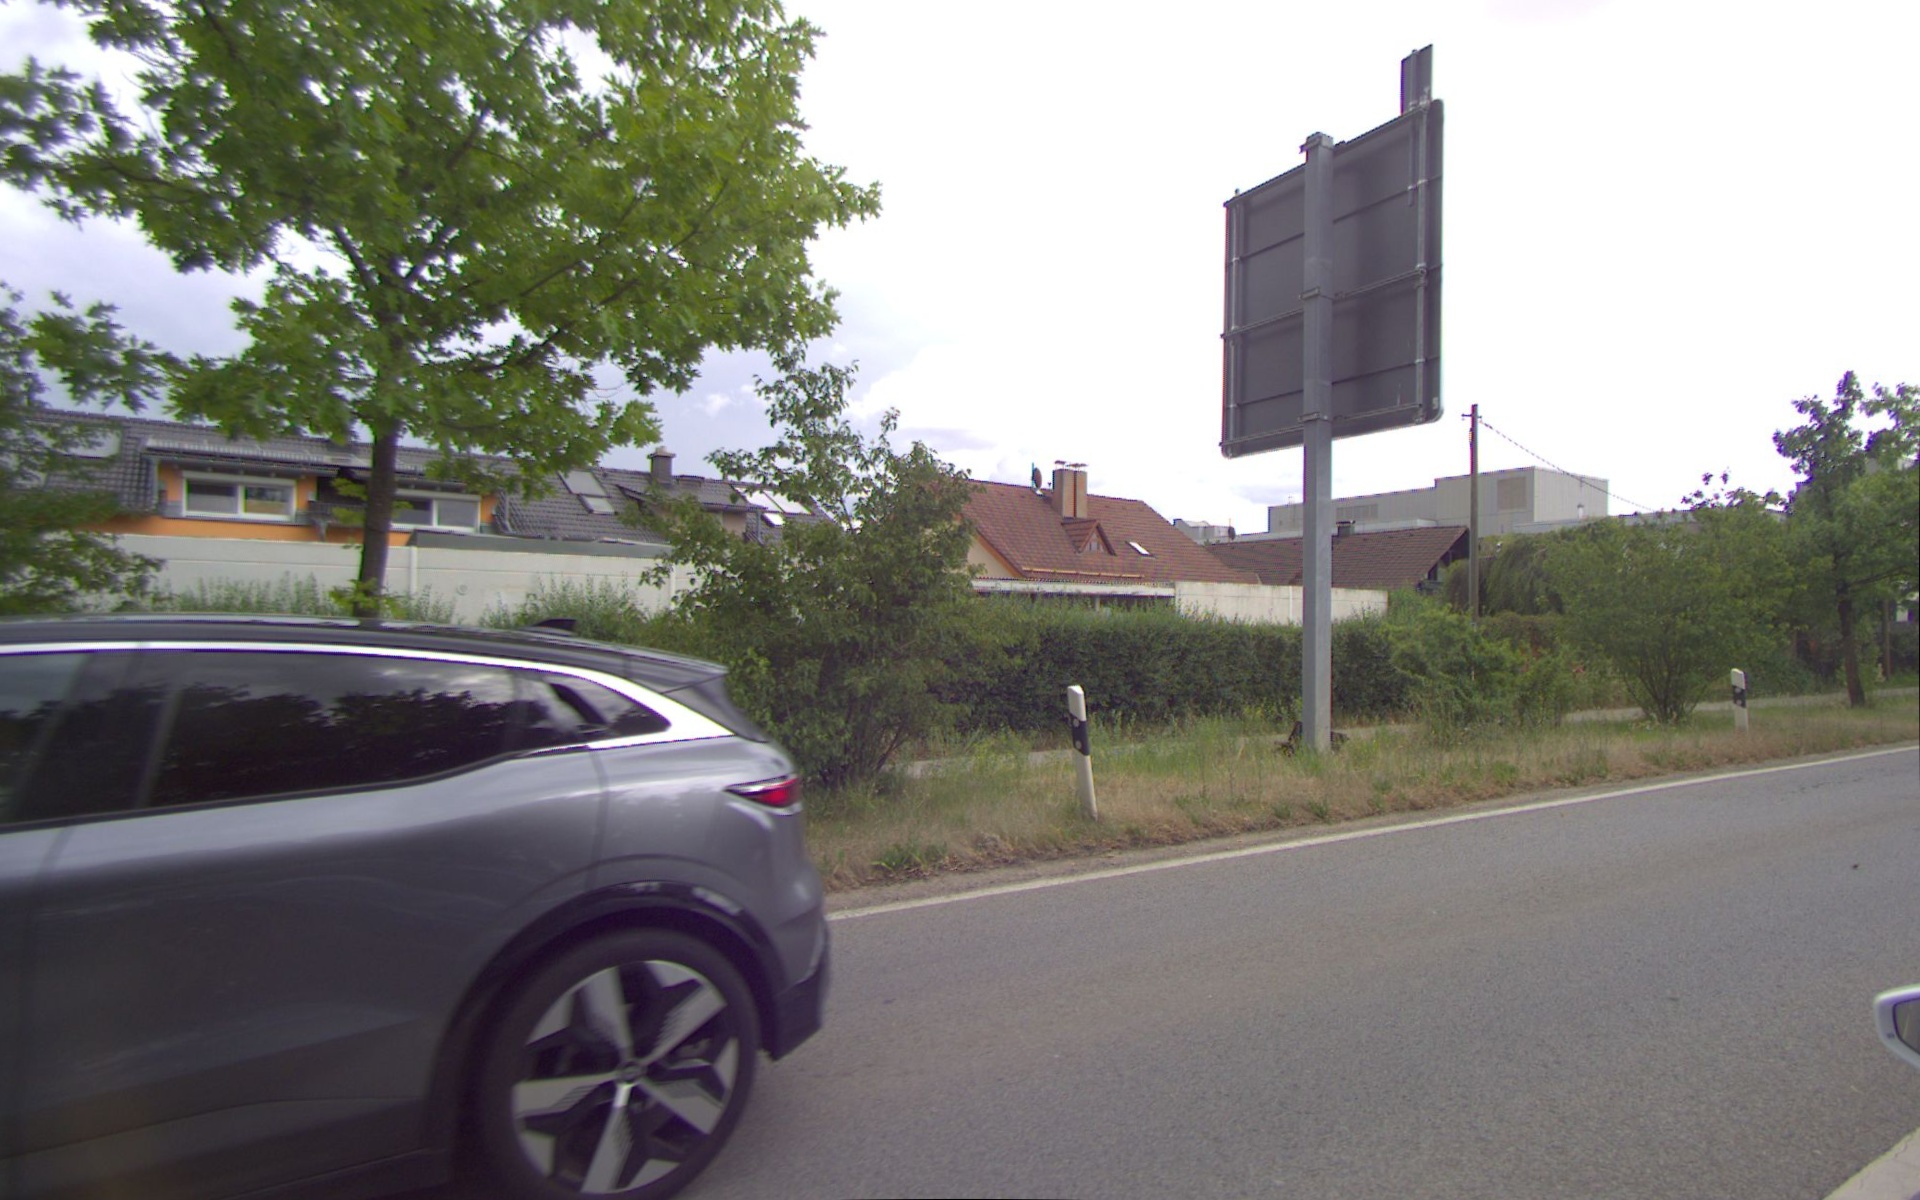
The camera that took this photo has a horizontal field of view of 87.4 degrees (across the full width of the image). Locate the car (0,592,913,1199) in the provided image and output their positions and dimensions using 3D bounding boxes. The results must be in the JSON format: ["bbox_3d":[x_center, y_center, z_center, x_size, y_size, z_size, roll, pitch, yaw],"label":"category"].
[{"bbox_3d":[-2.366,0.774,2.590,4.156,1.513,1.807,1,-3,-31],"label":"car"}]
